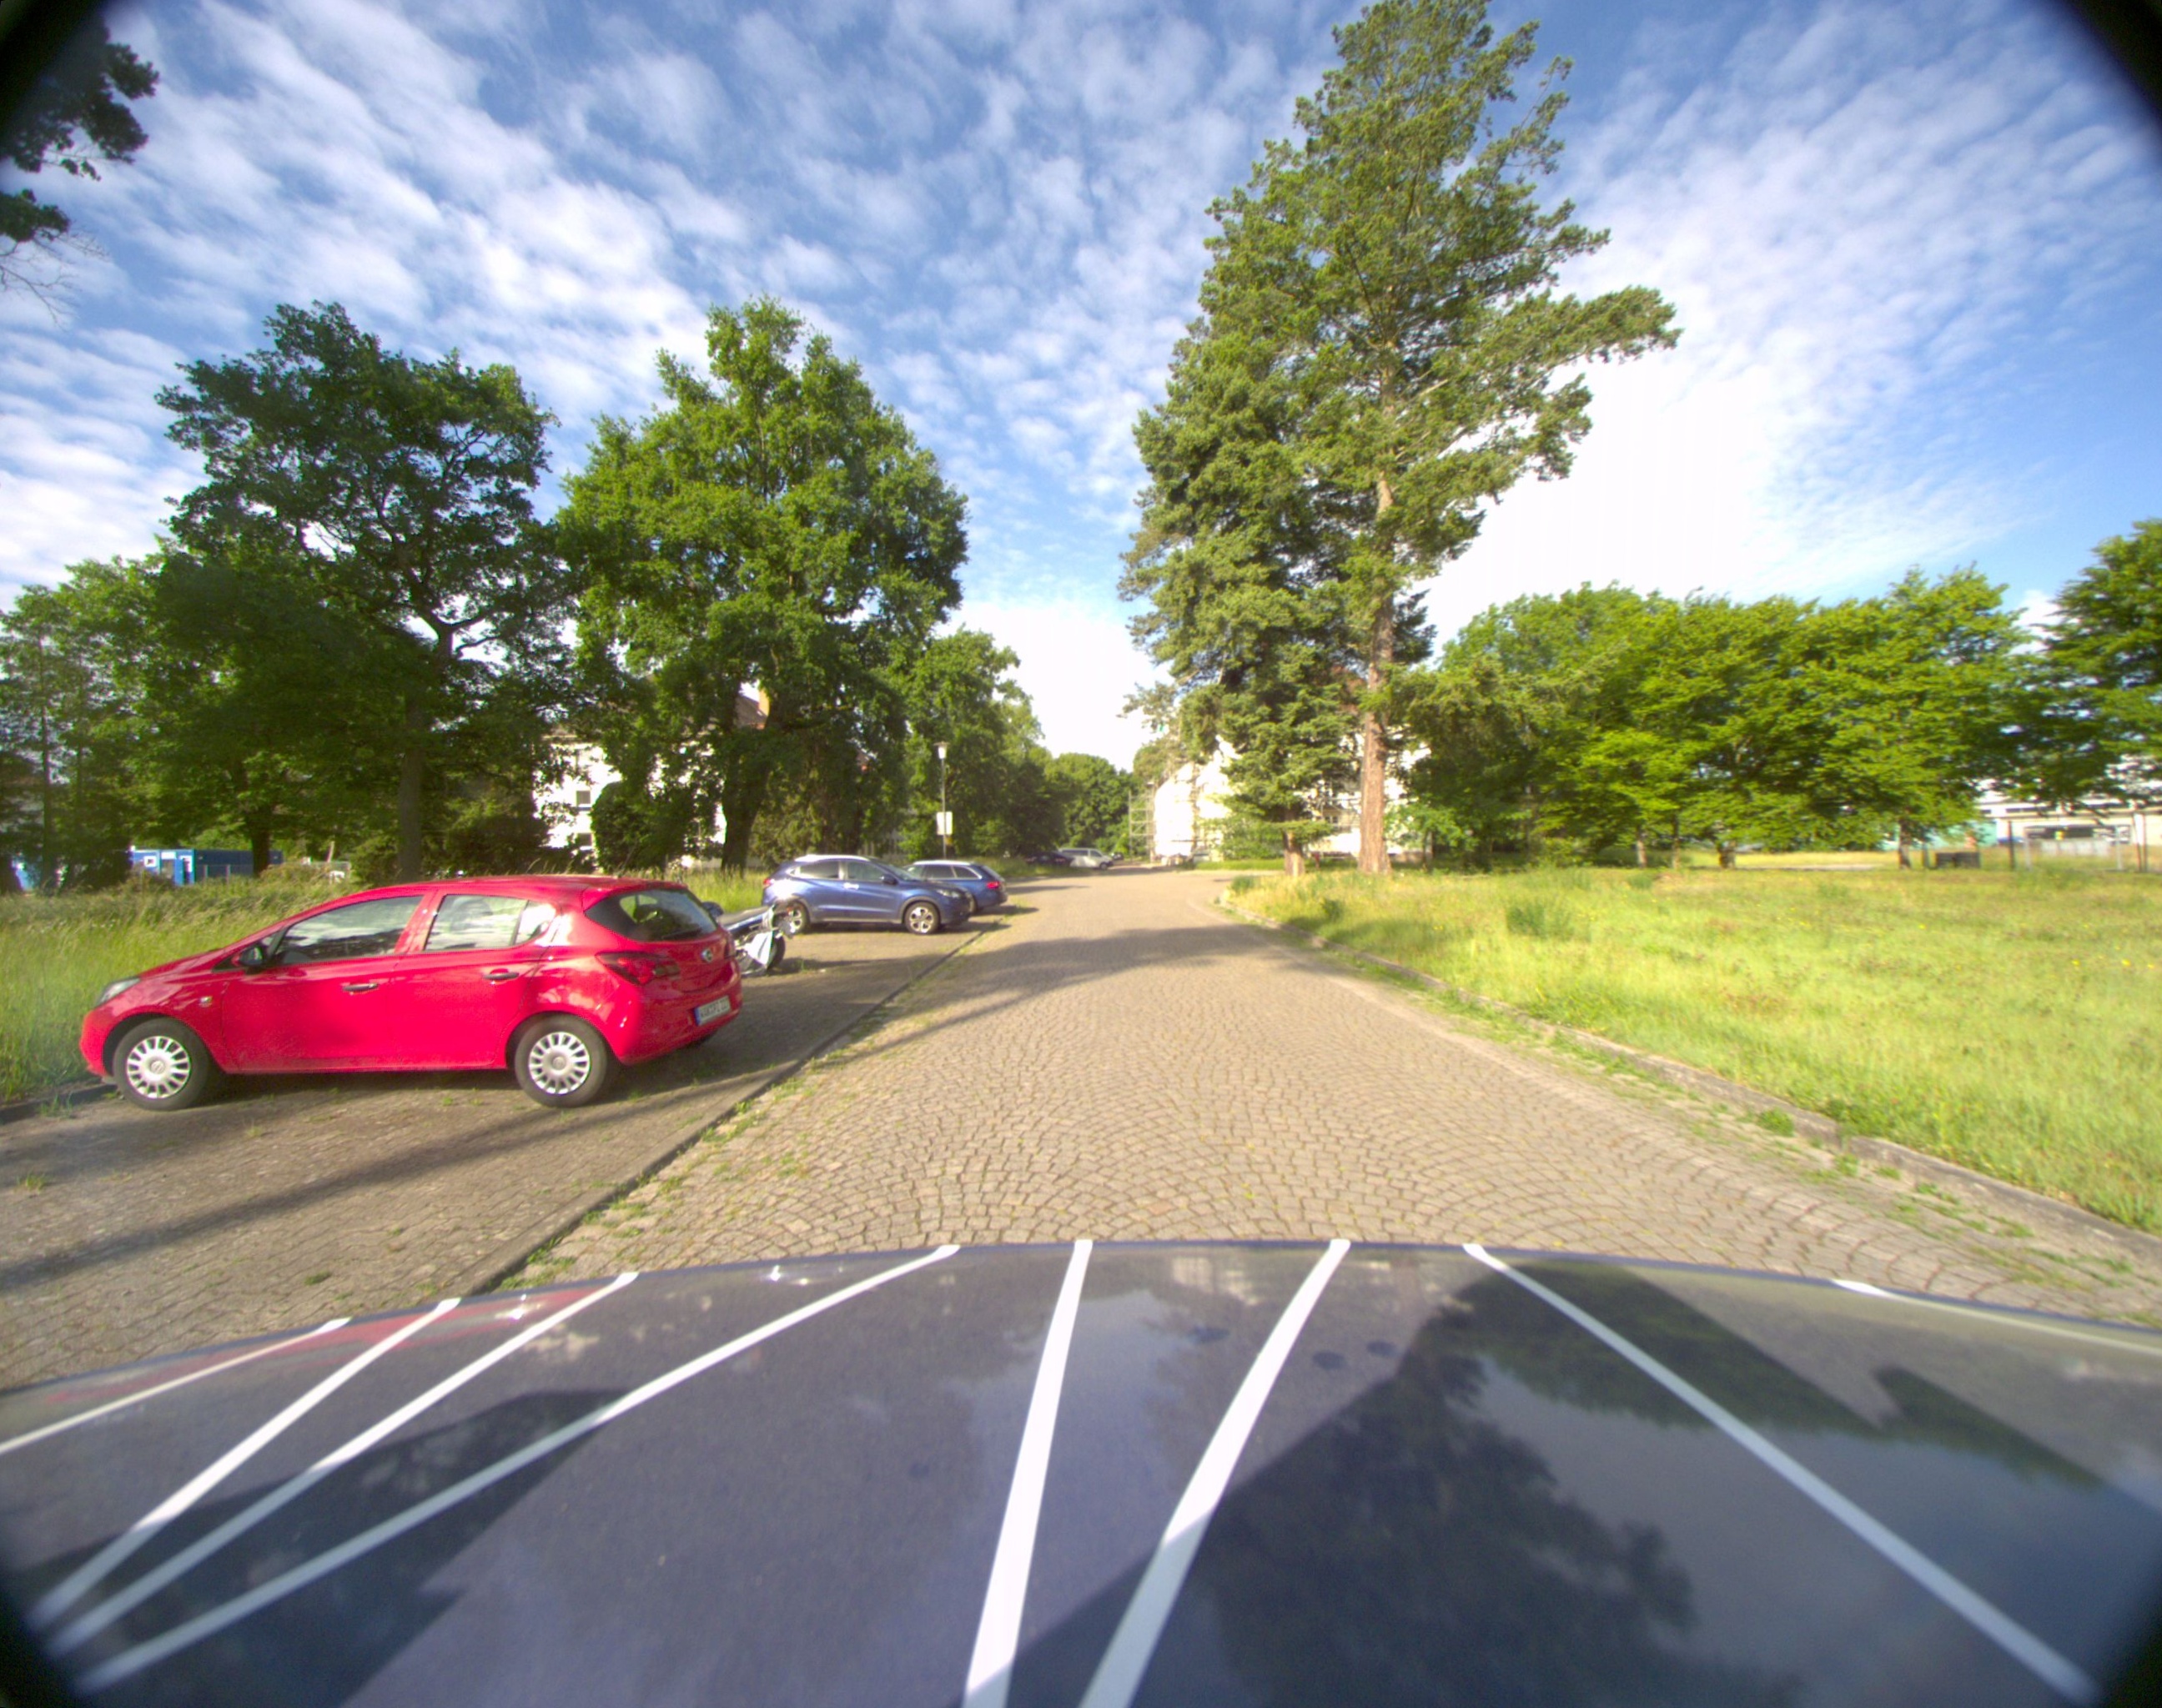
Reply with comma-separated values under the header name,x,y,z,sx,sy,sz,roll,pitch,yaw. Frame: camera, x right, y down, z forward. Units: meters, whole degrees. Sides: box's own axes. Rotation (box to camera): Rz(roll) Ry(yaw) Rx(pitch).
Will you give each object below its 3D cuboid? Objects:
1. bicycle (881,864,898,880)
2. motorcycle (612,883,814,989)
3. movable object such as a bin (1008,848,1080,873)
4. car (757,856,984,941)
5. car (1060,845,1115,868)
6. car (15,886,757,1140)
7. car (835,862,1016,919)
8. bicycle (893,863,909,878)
name,x,y,z,sx,sy,sz,roll,pitch,yaw
bicycle,-12.565,1.165,49.884,0.710,1.010,1.028,-1,1,8
motorcycle,-4.828,1.059,10.076,2.305,1.312,0.726,0,1,0
movable object such as a bin,-2.745,0.462,56.344,4.931,1.749,2.002,-1,1,16
car,-4.256,0.873,15.805,4.187,1.582,1.751,-1,1,0
car,0.579,0.233,69.260,4.936,2.002,2.000,-1,1,1
car,-4.632,1.016,5.520,3.837,1.470,1.645,0,1,0
car,-4.108,0.944,20.491,4.459,1.400,1.714,0,1,4
bicycle,-12.789,1.170,54.006,0.712,1.010,1.024,-2,1,-36
